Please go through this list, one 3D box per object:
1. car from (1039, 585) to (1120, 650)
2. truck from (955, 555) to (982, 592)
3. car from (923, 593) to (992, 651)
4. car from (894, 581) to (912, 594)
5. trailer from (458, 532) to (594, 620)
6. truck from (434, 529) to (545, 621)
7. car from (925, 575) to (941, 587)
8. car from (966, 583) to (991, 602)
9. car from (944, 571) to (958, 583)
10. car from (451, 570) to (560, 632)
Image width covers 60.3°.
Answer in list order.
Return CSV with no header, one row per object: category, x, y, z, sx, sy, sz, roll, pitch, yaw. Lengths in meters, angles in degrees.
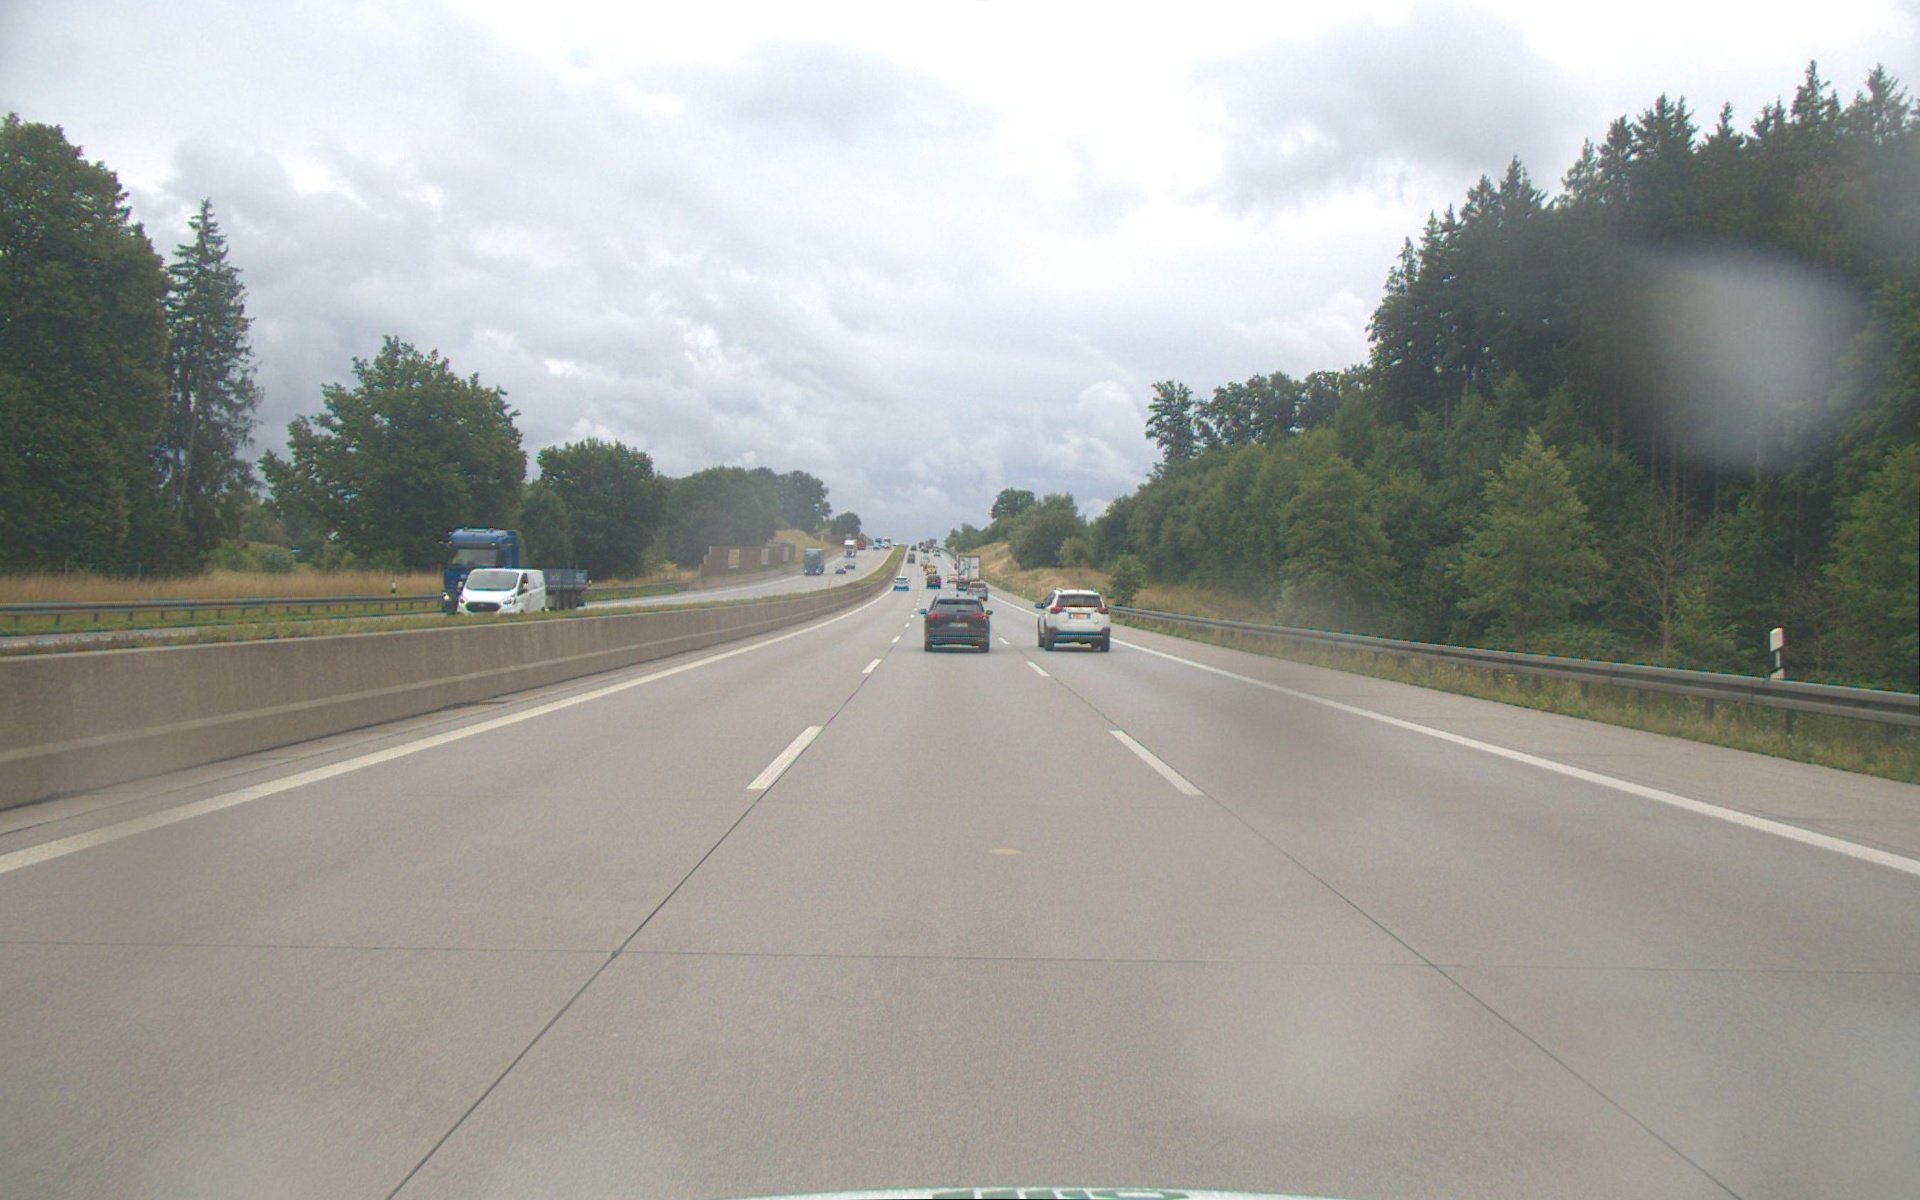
car,3.289,0.468,46.175,1.789,1.684,3.983,1,0,-2
truck,0.996,-3.221,196.960,2.956,4.253,8.352,1,1,-1
car,-0.052,0.583,43.999,1.716,1.422,4.483,1,-1,0
car,-6.556,-1.407,191.145,1.907,1.380,4.259,0,-1,0
trailer,-19.588,-1.003,75.762,2.729,3.569,13.882,1,0,-1
truck,-19.458,-0.989,68.795,2.701,3.578,6.639,1,0,-1
car,-3.385,-2.378,205.977,1.896,1.399,4.594,2,0,0
car,1.584,-0.665,144.325,1.953,1.557,3.998,1,0,-2
car,-1.355,-3.406,242.944,1.952,1.668,4.001,1,1,0
car,-14.618,0.029,53.498,2.046,1.833,5.496,1,0,-1
